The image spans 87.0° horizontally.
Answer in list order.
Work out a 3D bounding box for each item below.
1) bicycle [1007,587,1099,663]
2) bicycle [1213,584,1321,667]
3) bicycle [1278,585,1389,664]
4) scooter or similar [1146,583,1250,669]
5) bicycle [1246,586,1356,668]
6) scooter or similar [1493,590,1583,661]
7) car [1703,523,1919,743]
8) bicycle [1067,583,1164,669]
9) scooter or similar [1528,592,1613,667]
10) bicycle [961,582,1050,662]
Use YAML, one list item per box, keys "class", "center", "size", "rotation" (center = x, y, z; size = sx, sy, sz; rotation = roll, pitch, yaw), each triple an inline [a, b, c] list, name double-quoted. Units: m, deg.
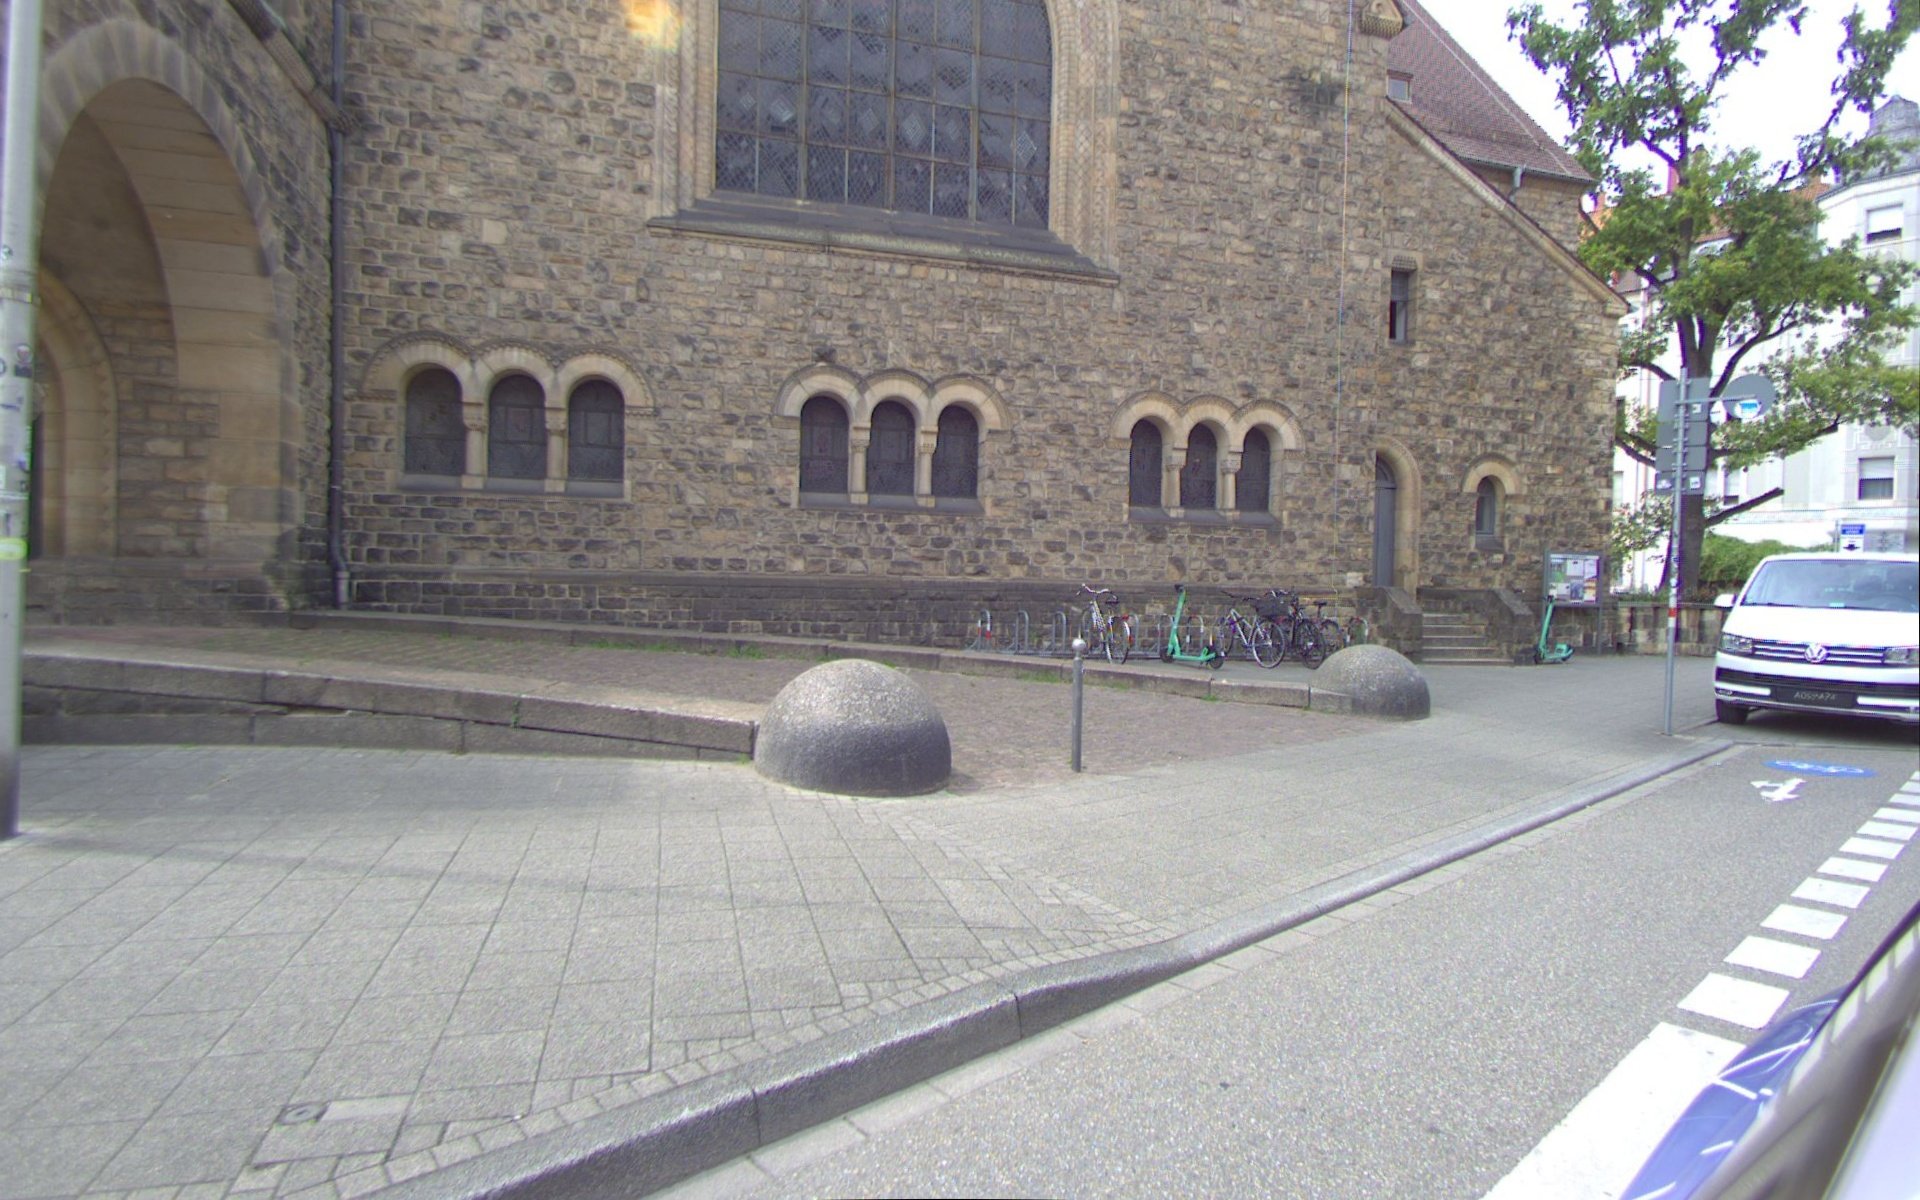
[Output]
- class: "bicycle"
  center: [1.295, 0.323, 14.406]
  size: [0.534, 0.969, 1.786]
  rotation: [1, 1, -21]
- class: "bicycle"
  center: [4.576, 0.352, 15.207]
  size: [0.534, 1.125, 1.786]
  rotation: [1, 1, -21]
- class: "bicycle"
  center: [5.734, 0.349, 15.652]
  size: [0.534, 1.125, 1.786]
  rotation: [1, 1, -21]
- class: "scooter or similar"
  center: [3.454, 0.345, 14.859]
  size: [0.534, 1.154, 1.786]
  rotation: [1, 1, -21]
- class: "bicycle"
  center: [5.146, 0.383, 15.407]
  size: [0.534, 1.125, 1.779]
  rotation: [1, 1, -21]
- class: "scooter or similar"
  center: [10.253, 0.453, 17.944]
  size: [1.450, 1.222, 0.547]
  rotation: [1, 1, -21]
- class: "car"
  center: [10.417, 0.268, 11.606]
  size: [5.035, 2.054, 2.018]
  rotation: [0, 3, -42]
- class: "bicycle"
  center: [2.208, 0.347, 14.619]
  size: [0.534, 1.125, 1.786]
  rotation: [1, 1, -21]
- class: "scooter or similar"
  center: [10.425, 0.493, 17.282]
  size: [1.413, 1.222, 0.547]
  rotation: [1, 1, -27]
- class: "bicycle"
  center: [0.600, 0.274, 14.192]
  size: [0.534, 0.969, 1.787]
  rotation: [1, 3, -21]
